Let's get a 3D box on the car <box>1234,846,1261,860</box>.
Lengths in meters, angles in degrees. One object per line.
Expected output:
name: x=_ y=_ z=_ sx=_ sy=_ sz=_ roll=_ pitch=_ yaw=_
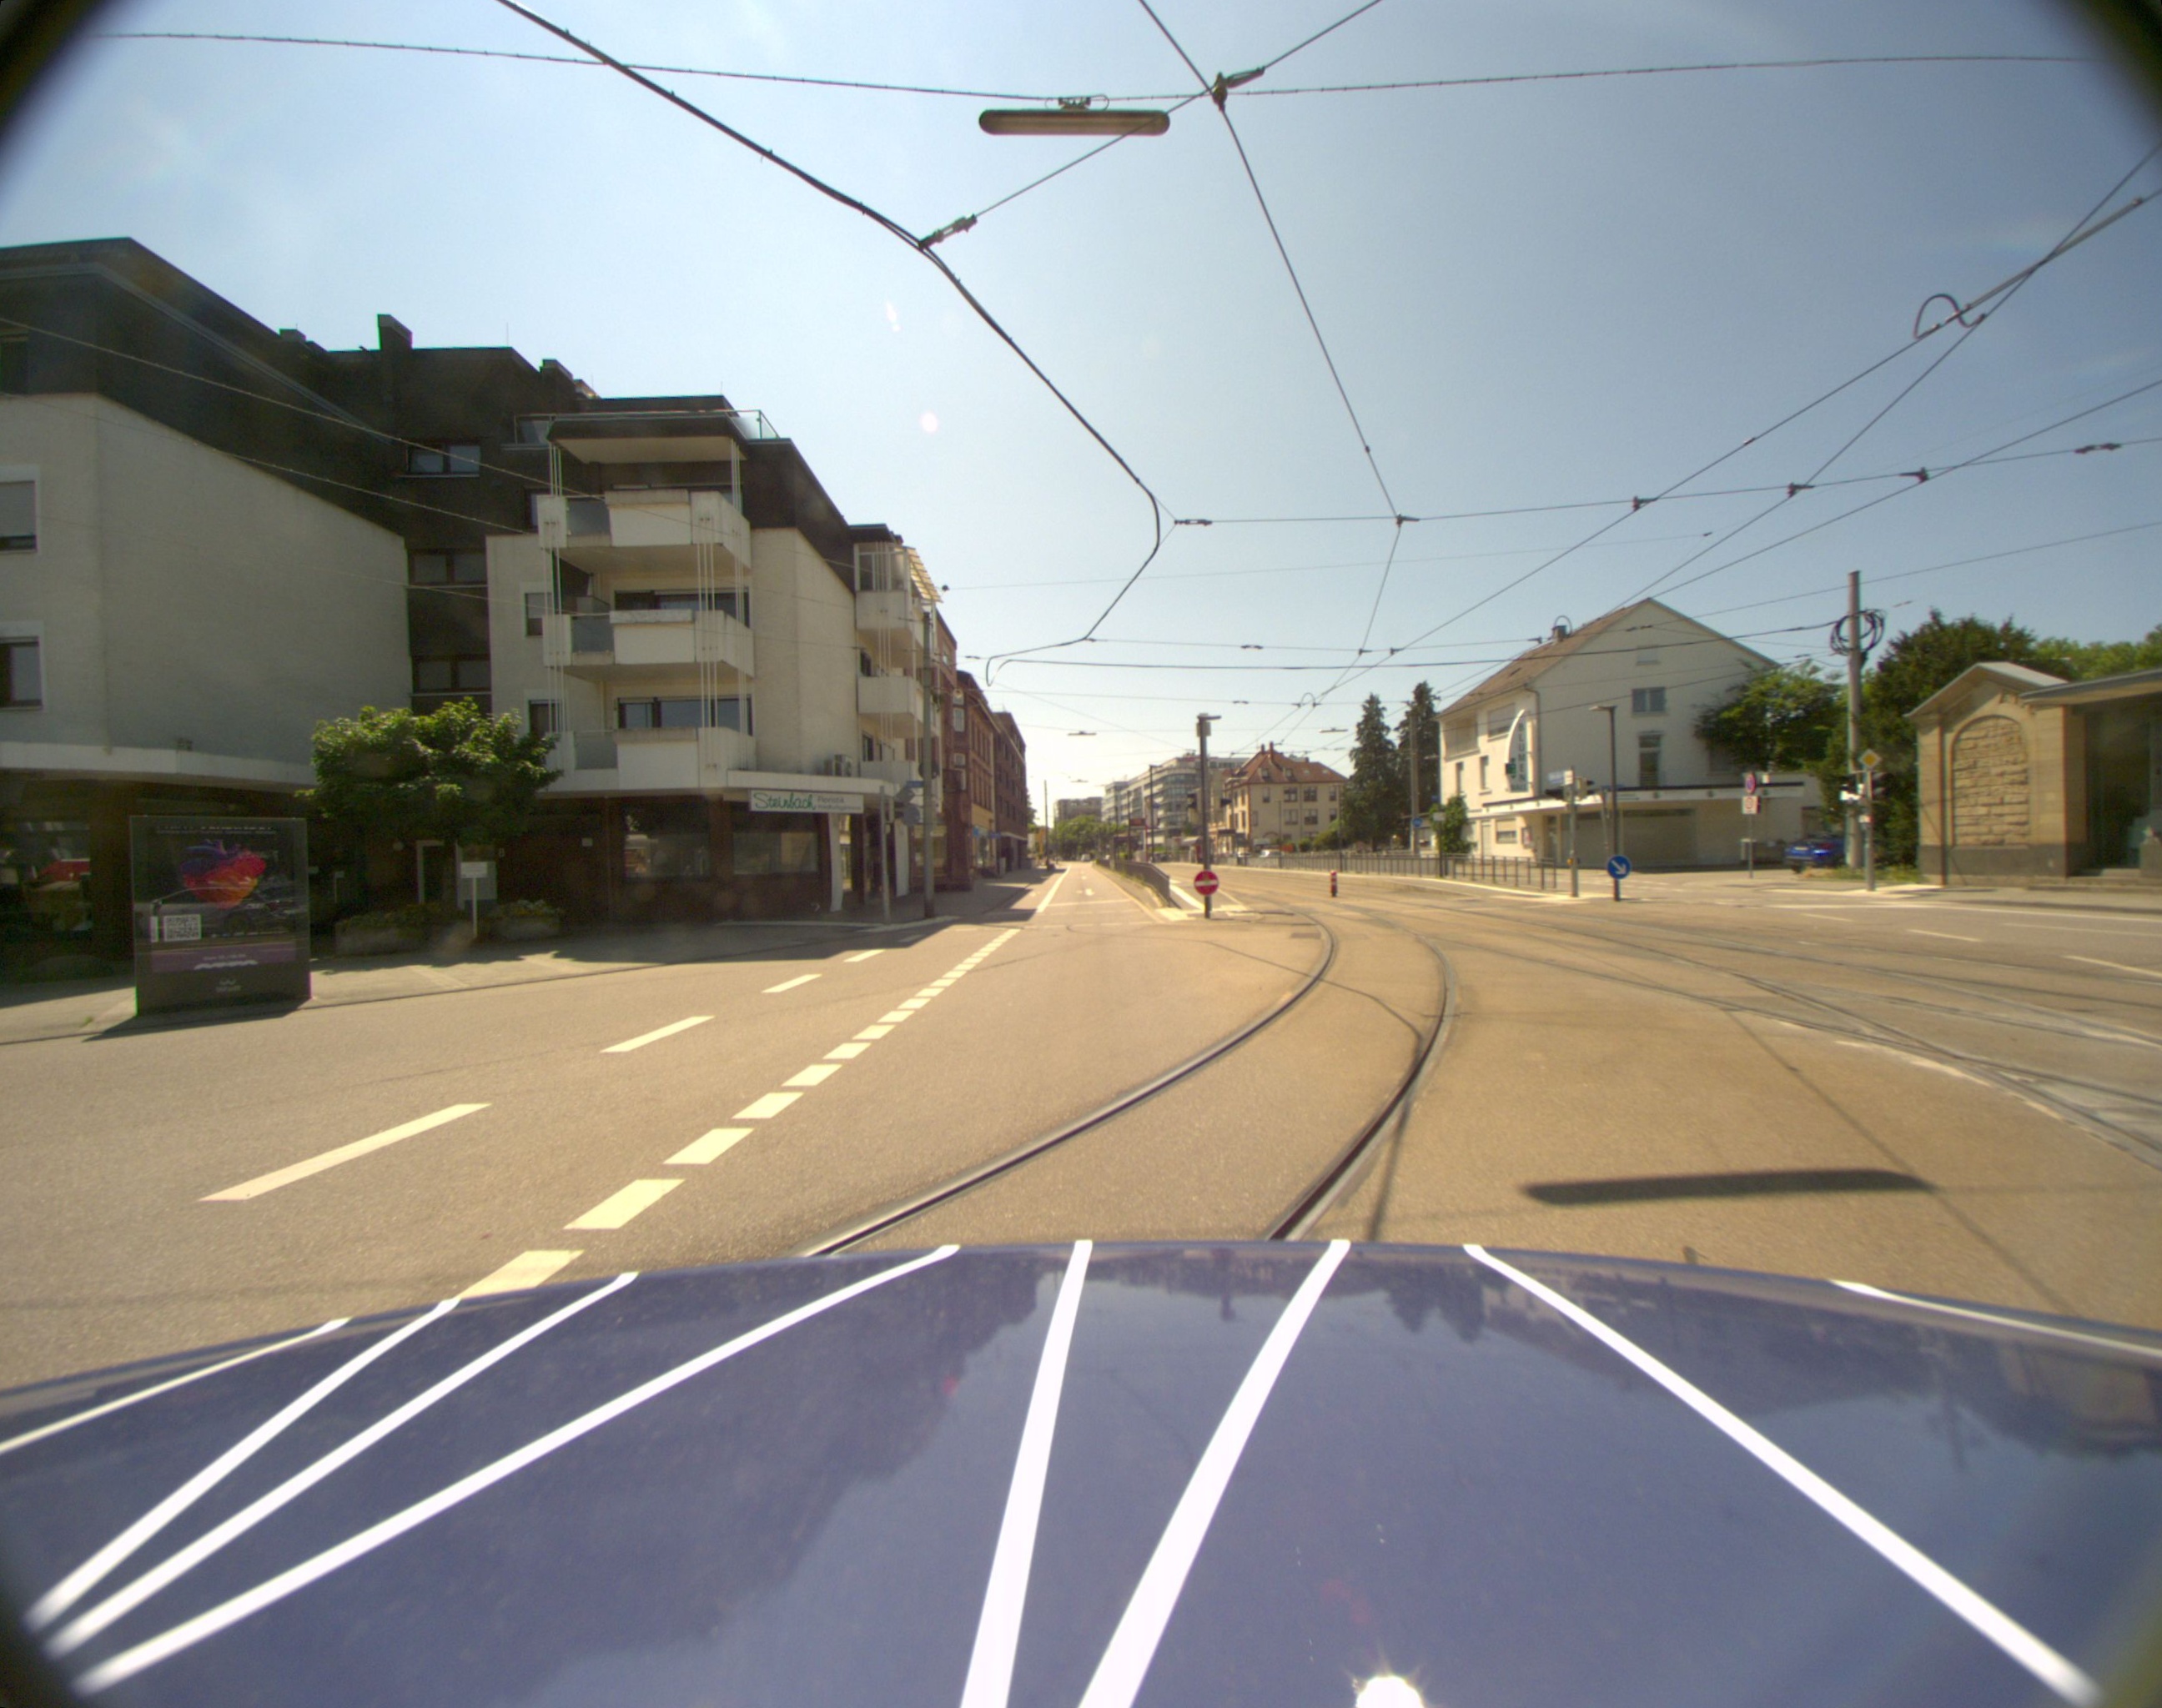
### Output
car: x=16.895 y=-0.113 z=77.224 sx=1.823 sy=1.355 sz=4.050 roll=-2 pitch=0 yaw=-1

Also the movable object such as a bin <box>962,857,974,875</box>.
movable object such as a bin: x=-6.557 y=0.710 z=44.048 sx=0.649 sy=1.042 sz=0.559 roll=0 pitch=1 yaw=0

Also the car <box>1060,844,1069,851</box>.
car: x=-4.945 y=-1.911 z=226.858 sx=2.001 sy=1.827 sz=3.995 roll=-2 pitch=1 yaw=-13

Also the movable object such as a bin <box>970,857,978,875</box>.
movable object such as a bin: x=-6.278 y=0.677 z=44.649 sx=0.376 sy=1.042 sz=0.559 roll=0 pitch=1 yaw=0

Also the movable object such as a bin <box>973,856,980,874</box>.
movable object such as a bin: x=-6.225 y=0.657 z=45.298 sx=0.376 sy=1.042 sz=0.657 roll=0 pitch=1 yaw=0

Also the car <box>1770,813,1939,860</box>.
car: x=27.217 y=-0.607 z=26.839 sx=3.954 sy=1.444 sz=1.824 roll=-2 pitch=1 yaw=4

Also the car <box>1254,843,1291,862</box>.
car: x=16.260 y=-0.138 z=64.832 sx=1.823 sy=1.481 sz=4.498 roll=-2 pitch=0 yaw=-2

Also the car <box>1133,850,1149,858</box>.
car: x=11.024 y=-0.008 z=139.374 sx=1.824 sy=1.387 sz=4.171 roll=-2 pitch=0 yaw=-10

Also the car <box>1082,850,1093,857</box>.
car: x=1.612 y=-0.091 z=188.207 sx=1.862 sy=1.806 sz=4.693 roll=-2 pitch=0 yaw=-11
